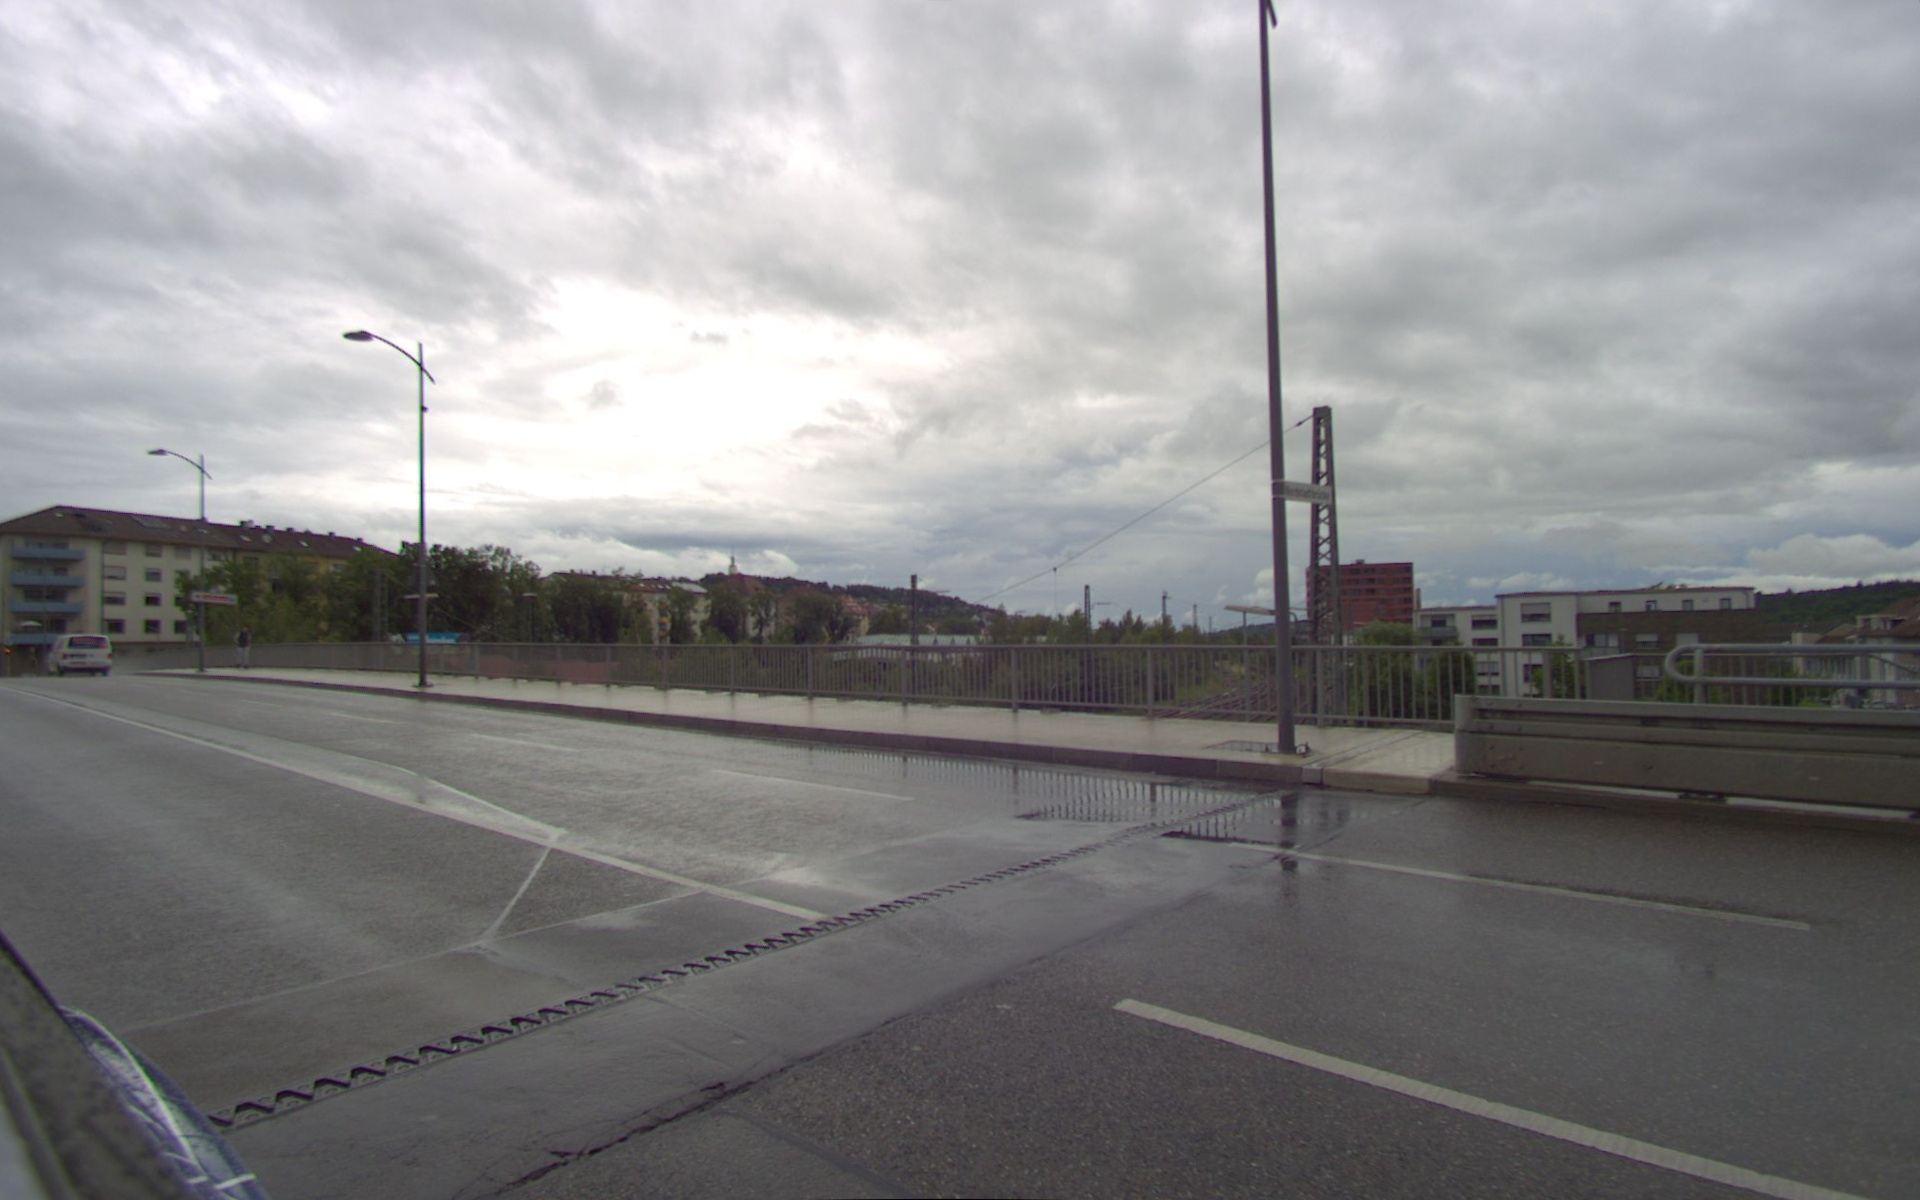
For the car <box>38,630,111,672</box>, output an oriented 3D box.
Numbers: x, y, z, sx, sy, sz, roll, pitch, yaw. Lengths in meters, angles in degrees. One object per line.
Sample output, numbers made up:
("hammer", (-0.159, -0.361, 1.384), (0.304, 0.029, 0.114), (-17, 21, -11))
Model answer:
("car", (-41.439, 2.401, 47.303), (4.954, 1.836, 1.867), (-4, -2, 40))
